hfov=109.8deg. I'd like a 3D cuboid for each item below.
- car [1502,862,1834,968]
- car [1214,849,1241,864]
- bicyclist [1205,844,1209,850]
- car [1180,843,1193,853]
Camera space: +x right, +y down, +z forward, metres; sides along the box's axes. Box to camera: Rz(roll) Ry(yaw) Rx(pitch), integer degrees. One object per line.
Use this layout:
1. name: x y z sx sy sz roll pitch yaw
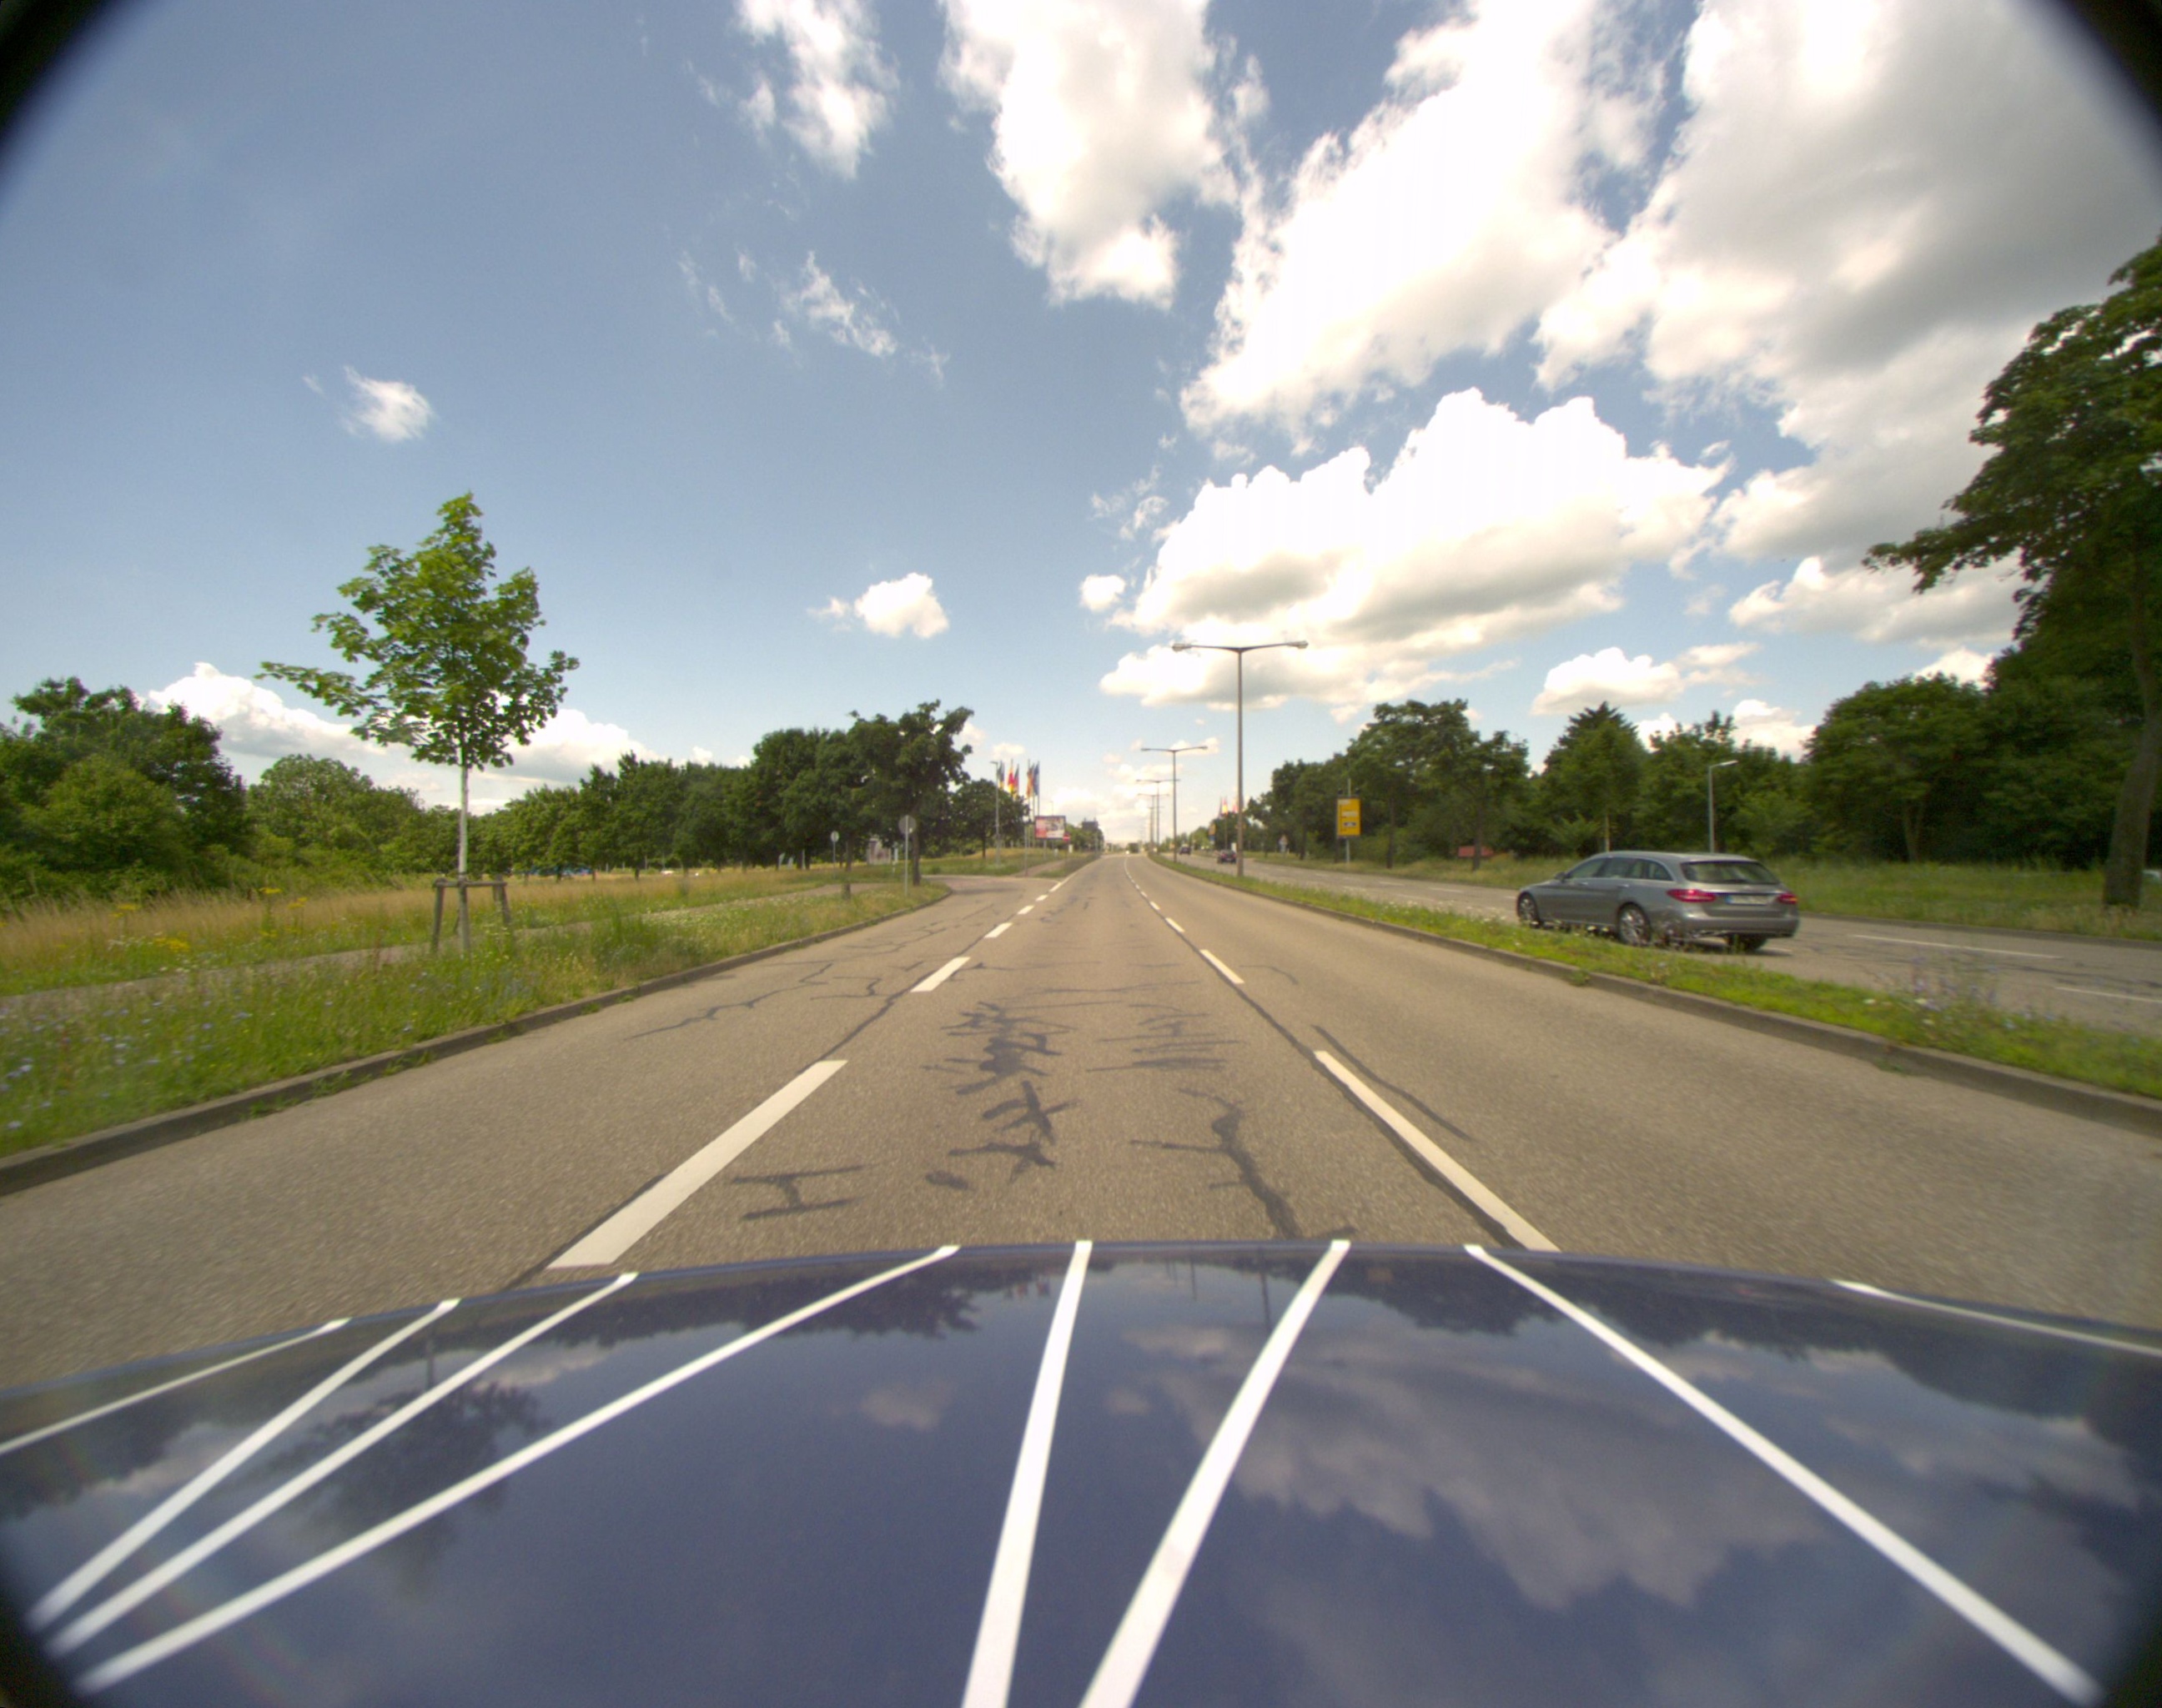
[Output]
1. car: 9.086 0.835 12.423 1.815 1.390 4.734 0 0 1
2. car: 15.046 0.229 78.244 1.706 1.419 3.672 -1 1 -8
3. bicyclist: 25.441 -1.362 153.203 0.522 1.265 1.107 -2 0 1
4. car: 20.035 -1.146 144.705 1.881 1.780 4.728 1 1 2
